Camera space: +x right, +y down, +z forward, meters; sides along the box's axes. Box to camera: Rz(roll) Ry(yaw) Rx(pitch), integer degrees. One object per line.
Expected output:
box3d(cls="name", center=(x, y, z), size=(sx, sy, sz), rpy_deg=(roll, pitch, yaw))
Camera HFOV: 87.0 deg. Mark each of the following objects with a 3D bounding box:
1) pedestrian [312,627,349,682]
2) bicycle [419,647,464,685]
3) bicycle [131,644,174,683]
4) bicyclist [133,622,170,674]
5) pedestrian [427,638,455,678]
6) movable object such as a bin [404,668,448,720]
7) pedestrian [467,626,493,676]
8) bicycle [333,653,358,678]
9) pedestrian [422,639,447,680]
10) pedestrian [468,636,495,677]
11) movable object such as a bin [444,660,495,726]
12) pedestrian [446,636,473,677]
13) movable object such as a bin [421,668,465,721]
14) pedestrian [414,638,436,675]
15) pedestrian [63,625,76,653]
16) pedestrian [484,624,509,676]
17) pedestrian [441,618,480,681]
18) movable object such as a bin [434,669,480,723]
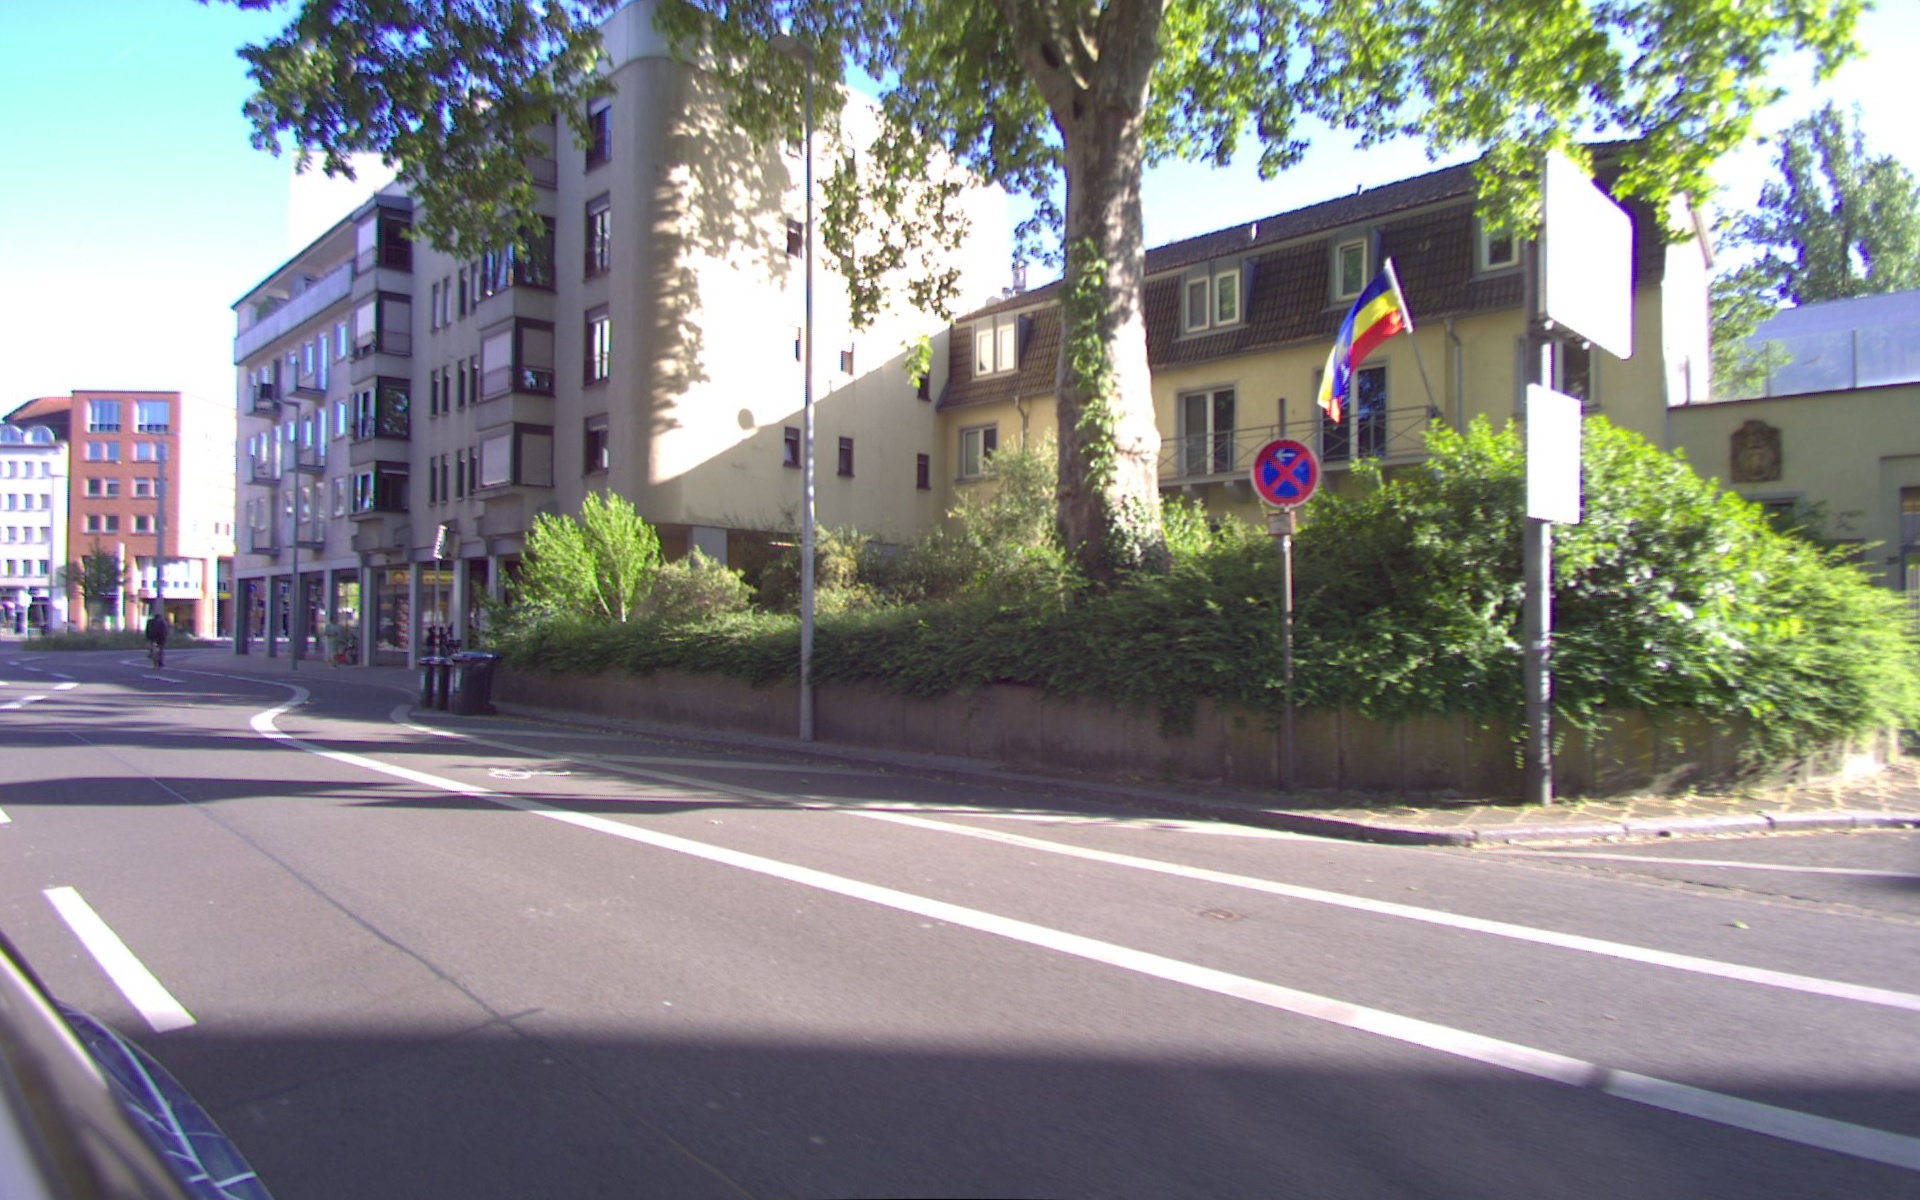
box3d(cls="pedestrian", center=(-20.590, 1.763, 33.116), size=(0.721, 1.753, 0.825), rpy_deg=(-1, -1, 34))
box3d(cls="bicycle", center=(-14.935, 1.885, 29.151), size=(2.010, 1.053, 0.444), rpy_deg=(-2, -2, 41))
box3d(cls="bicycle", center=(-25.928, 2.024, 32.496), size=(2.178, 1.209, 0.720), rpy_deg=(-1, -3, 43))
box3d(cls="bicyclist", center=(-25.926, 1.527, 32.448), size=(1.167, 1.654, 0.720), rpy_deg=(-1, -2, 43))
box3d(cls="pedestrian", center=(-18.098, 2.024, 35.275), size=(0.700, 1.346, 0.740), rpy_deg=(0, -1, -44))
box3d(cls="movable object such as a bin", center=(-9.892, 1.729, 18.750), size=(0.603, 0.908, 0.535), rpy_deg=(-2, -2, 41))
box3d(cls="pedestrian", center=(-16.165, 1.707, 34.125), size=(0.605, 1.678, 0.712), rpy_deg=(0, -1, -7))
box3d(cls="bicycle", center=(-21.242, 2.261, 34.965), size=(1.523, 0.831, 0.354), rpy_deg=(-2, -2, 44))
box3d(cls="pedestrian", center=(-17.922, 2.020, 34.505), size=(0.605, 1.378, 0.712), rpy_deg=(0, -1, -42))
box3d(cls="pedestrian", center=(-16.509, 1.938, 34.929), size=(0.700, 1.388, 0.615), rpy_deg=(0, -1, -43))
box3d(cls="movable object such as a bin", center=(-8.444, 1.594, 17.422), size=(0.644, 1.079, 0.588), rpy_deg=(-2, -2, 41))
box3d(cls="pedestrian", center=(-17.038, 1.924, 34.464), size=(0.700, 1.363, 0.615), rpy_deg=(0, -1, -43))
box3d(cls="movable object such as a bin", center=(-9.405, 1.707, 18.398), size=(0.559, 0.908, 0.535), rpy_deg=(-2, -2, 41))
box3d(cls="pedestrian", center=(-19.013, 1.996, 35.965), size=(0.560, 1.277, 0.690), rpy_deg=(0, -1, -37))
box3d(cls="pedestrian", center=(-56.572, 2.486, 64.305), size=(0.585, 1.760, 0.503), rpy_deg=(0, 0, -40))
box3d(cls="pedestrian", center=(-15.986, 1.707, 34.926), size=(0.605, 1.755, 0.712), rpy_deg=(0, -1, -7))
box3d(cls="pedestrian", center=(-15.234, 1.485, 30.887), size=(0.805, 1.883, 0.814), rpy_deg=(-1, 0, 40))
box3d(cls="movable object such as a bin", center=(-8.942, 1.696, 17.991), size=(0.644, 0.908, 0.535), rpy_deg=(-2, -2, 41))
